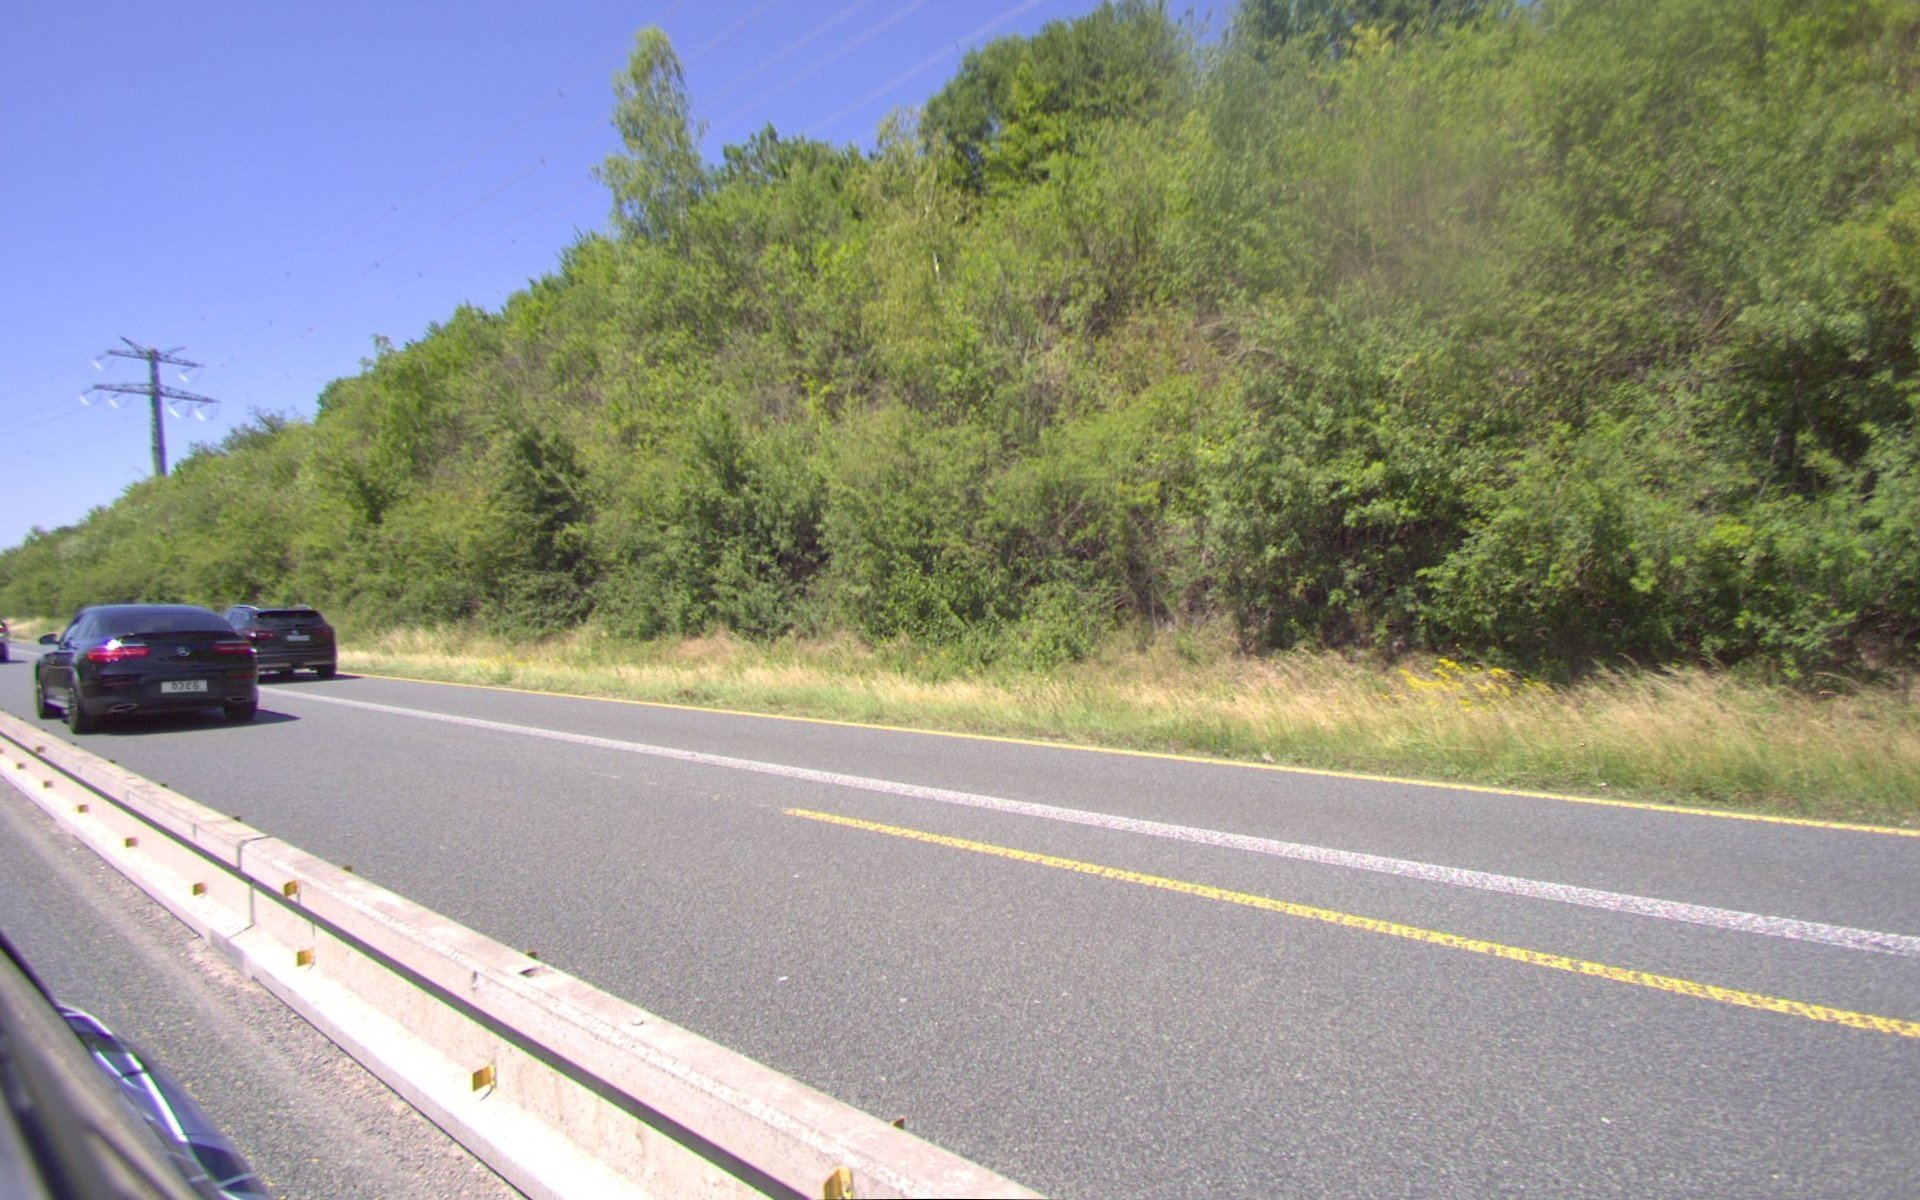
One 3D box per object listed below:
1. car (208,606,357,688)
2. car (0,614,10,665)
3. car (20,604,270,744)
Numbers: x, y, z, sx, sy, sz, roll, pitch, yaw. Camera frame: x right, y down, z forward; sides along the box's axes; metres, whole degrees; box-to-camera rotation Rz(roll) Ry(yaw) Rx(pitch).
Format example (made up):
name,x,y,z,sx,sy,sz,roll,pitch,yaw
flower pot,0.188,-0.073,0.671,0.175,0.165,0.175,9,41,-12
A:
name,x,y,z,sx,sy,sz,roll,pitch,yaw
car,-14.747,0.973,21.962,3.992,1.577,1.682,-1,0,41
car,-31.509,1.270,31.862,4.668,1.545,1.825,-1,1,41
car,-11.242,0.895,13.836,4.668,1.545,1.825,-1,1,41
